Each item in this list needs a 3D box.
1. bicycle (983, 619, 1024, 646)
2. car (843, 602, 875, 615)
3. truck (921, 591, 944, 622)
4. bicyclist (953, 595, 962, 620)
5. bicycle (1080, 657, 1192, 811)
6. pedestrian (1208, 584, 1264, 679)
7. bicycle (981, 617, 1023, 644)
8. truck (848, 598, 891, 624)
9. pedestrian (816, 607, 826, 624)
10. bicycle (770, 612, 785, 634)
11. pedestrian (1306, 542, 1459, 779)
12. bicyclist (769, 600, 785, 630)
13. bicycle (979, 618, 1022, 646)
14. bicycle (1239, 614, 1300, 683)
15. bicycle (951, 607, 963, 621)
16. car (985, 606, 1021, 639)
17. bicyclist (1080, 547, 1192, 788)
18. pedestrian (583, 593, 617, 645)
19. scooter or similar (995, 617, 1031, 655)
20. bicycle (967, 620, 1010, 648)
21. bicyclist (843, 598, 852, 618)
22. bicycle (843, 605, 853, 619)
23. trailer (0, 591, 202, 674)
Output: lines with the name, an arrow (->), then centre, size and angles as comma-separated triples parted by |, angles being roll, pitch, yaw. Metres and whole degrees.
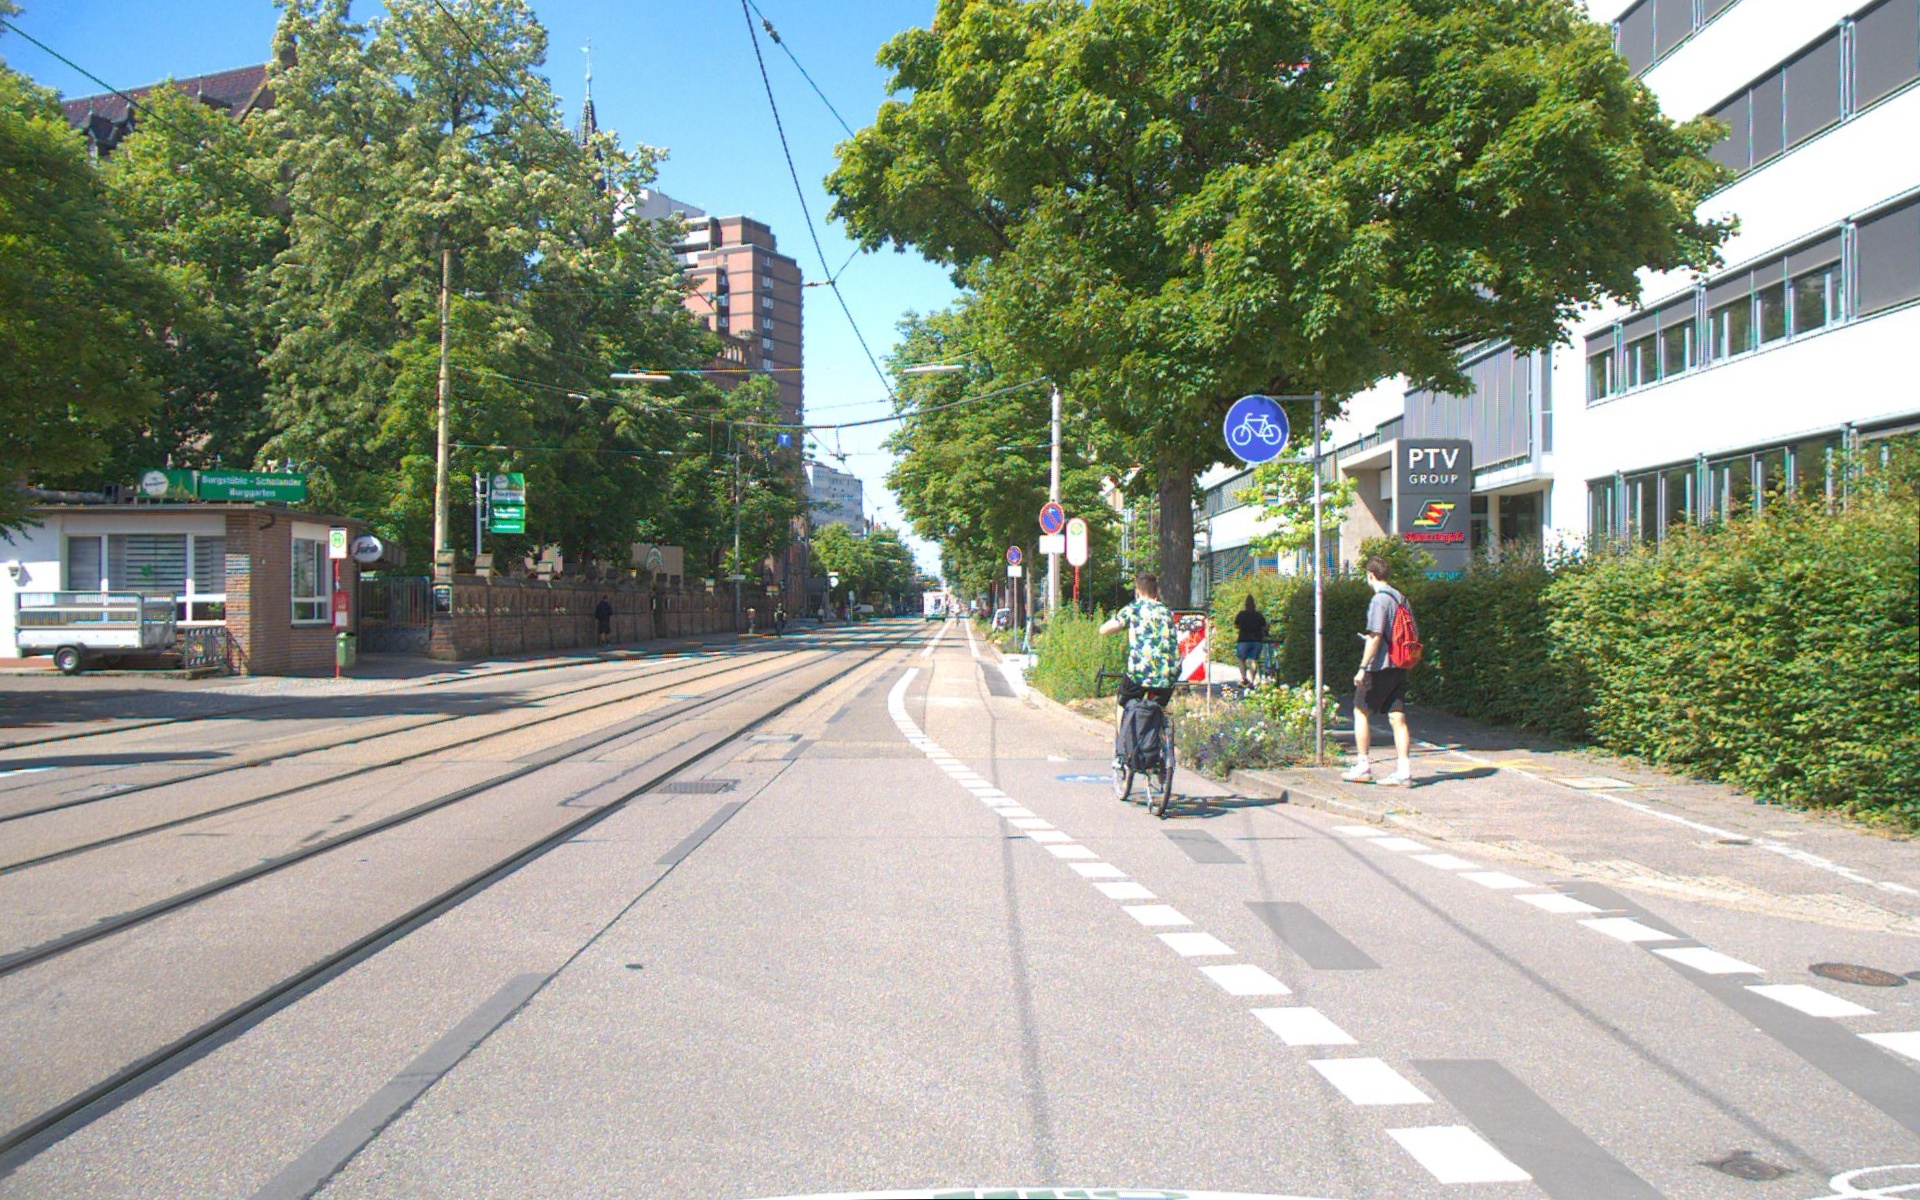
bicycle -> 1.830, 1.360, 69.781 | 1.689, 1.105, 0.639 | -1, -1, -1
car -> -13.968, 1.151, 228.104 | 3.946, 1.780, 1.979 | 0, -1, -31
truck -> -2.815, 0.695, 170.352 | 2.353, 3.163, 6.036 | 0, 0, -1
bicyclist -> -0.210, 0.595, 129.234 | 0.623, 1.904, 1.024 | -1, -1, -1
bicycle -> 1.306, 0.971, 12.607 | 0.596, 1.001, 2.164 | 0, 0, -1
pedestrian -> 4.753, 0.540, 28.510 | 0.673, 1.590, 0.987 | -2, 0, -5
bicycle -> 1.788, 1.293, 70.668 | 1.756, 1.105, 0.726 | -1, -1, -1
truck -> -13.970, 1.690, 256.157 | 2.755, 3.927, 10.000 | -1, -1, 21
pedestrian -> -12.585, 1.383, 149.751 | 0.867, 1.538, 1.472 | 0, -1, -9
bicycle -> -9.617, 1.192, 87.191 | 0.579, 1.125, 2.054 | 0, 0, 0
pedestrian -> 3.425, 0.472, 13.492 | 0.872, 1.850, 1.072 | 0, 0, -7
bicyclist -> -9.663, 0.780, 87.278 | 0.725, 1.557, 0.947 | 0, 0, 0
bicycle -> 1.728, 1.370, 71.195 | 1.811, 1.152, 0.680 | -1, -1, -1
bicycle -> 5.296, 0.810, 28.414 | 0.623, 1.137, 2.066 | 0, 0, -1
bicycle -> -0.233, 1.082, 129.209 | 0.838, 1.129, 2.139 | 0, 0, -1
car -> 1.984, 1.012, 76.472 | 1.596, 1.498, 3.630 | 0, 0, 1
bicyclist -> 1.319, 0.491, 12.561 | 0.702, 1.754, 0.987 | 0, 0, -2
pedestrian -> -13.100, 0.691, 60.278 | 0.956, 1.847, 1.185 | -1, -1, 0
scooter or similar -> 1.688, 1.143, 52.504 | 1.102, 1.187, 0.676 | -1, 0, 2
bicycle -> 1.136, 1.351, 66.153 | 1.689, 1.105, 0.789 | -1, -1, -1
bicyclist -> -9.760, 0.674, 143.989 | 0.710, 1.728, 1.146 | -1, -1, -1
bicycle -> -9.755, 1.013, 144.021 | 0.649, 1.174, 2.014 | 0, 0, 0
trailer -> -17.150, 0.639, 33.042 | 3.206, 1.631, 1.723 | 0, -1, 1
